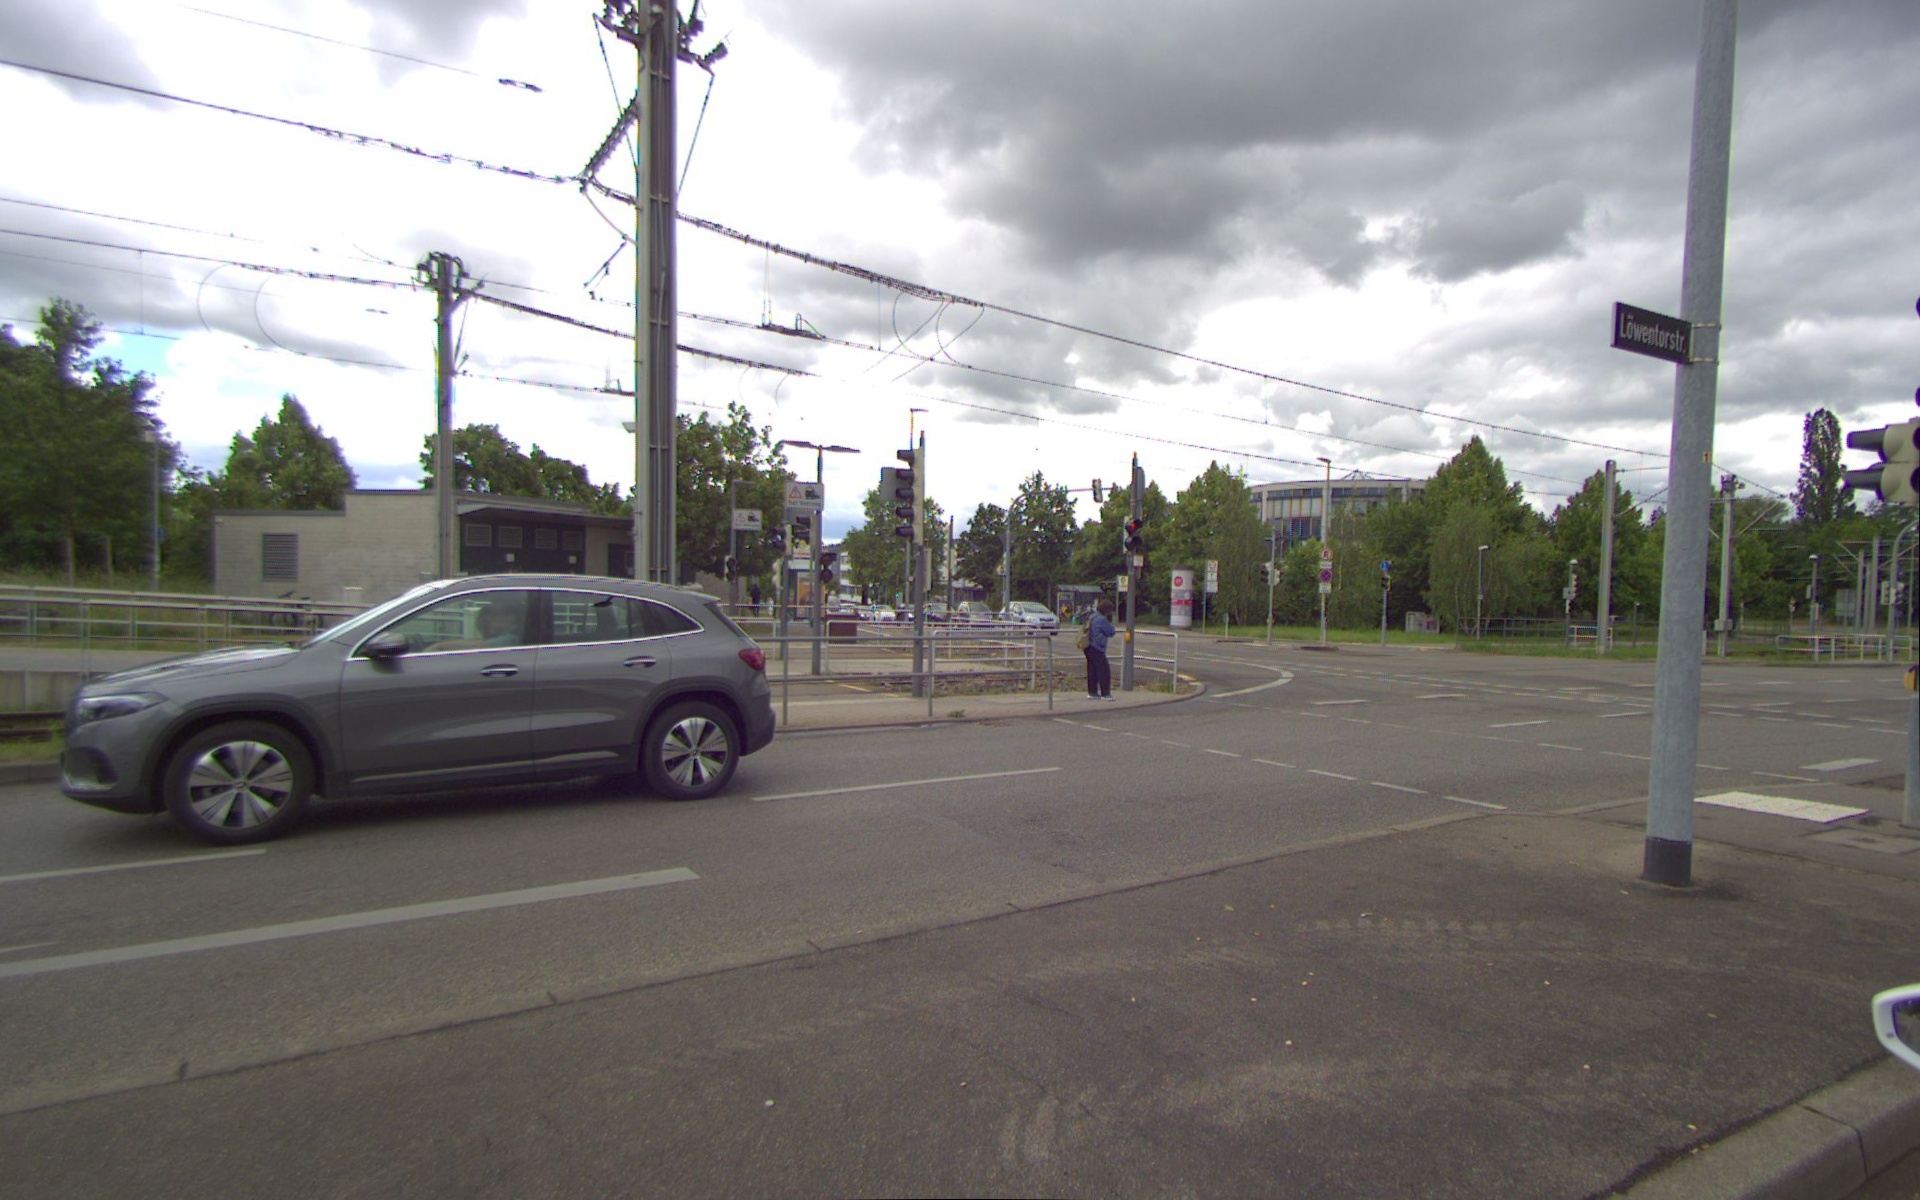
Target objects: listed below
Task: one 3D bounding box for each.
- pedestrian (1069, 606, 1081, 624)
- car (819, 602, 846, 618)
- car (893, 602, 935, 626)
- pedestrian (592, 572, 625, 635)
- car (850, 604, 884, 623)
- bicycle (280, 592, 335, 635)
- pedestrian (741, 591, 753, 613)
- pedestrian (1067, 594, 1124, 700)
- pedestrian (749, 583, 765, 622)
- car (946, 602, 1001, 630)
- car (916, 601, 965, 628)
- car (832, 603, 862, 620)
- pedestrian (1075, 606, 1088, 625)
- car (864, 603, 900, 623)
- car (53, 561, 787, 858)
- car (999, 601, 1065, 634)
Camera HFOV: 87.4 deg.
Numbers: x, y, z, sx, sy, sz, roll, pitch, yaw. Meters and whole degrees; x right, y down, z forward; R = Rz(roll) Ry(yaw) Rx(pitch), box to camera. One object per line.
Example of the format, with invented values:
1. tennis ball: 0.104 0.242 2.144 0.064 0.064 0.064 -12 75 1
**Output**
1. pedestrian: 8.337 1.084 72.920 0.652 1.321 0.780 1 0 -16
2. car: -11.934 0.966 94.066 1.706 1.456 3.731 1 0 -20
3. car: -3.005 0.891 64.925 1.706 1.456 3.731 1 0 -20
4. pedestrian: -9.323 0.097 26.639 0.697 1.628 0.653 1 0 -29
5. car: -7.420 1.026 79.678 1.706 1.456 3.991 1 0 -20
6. bicycle: -17.327 0.348 26.671 1.452 1.101 0.492 1 0 22
7. pedestrian: -16.371 0.176 77.195 0.771 1.649 0.660 1 0 -22
8. pedestrian: 2.082 0.703 15.434 0.701 1.584 0.533 1 1 -44
9. pedestrian: -10.494 0.118 51.941 0.738 1.993 0.795 1 0 -9
10. car: 0.688 0.847 53.663 1.706 1.456 3.731 1 0 -20
11. car: -1.151 0.819 58.159 1.706 1.456 3.731 1 0 -20
12. car: -9.771 0.990 86.710 1.706 1.456 3.731 1 0 -20
13. pedestrian: 8.625 1.114 71.552 0.652 1.322 0.780 1 0 -16
14. car: -5.815 0.966 74.776 1.706 1.456 3.731 1 0 -20
15. car: -3.546 0.601 7.231 4.181 1.567 1.767 1 0 -34
16. car: 3.301 0.802 46.804 1.706 1.456 3.731 1 0 -20
